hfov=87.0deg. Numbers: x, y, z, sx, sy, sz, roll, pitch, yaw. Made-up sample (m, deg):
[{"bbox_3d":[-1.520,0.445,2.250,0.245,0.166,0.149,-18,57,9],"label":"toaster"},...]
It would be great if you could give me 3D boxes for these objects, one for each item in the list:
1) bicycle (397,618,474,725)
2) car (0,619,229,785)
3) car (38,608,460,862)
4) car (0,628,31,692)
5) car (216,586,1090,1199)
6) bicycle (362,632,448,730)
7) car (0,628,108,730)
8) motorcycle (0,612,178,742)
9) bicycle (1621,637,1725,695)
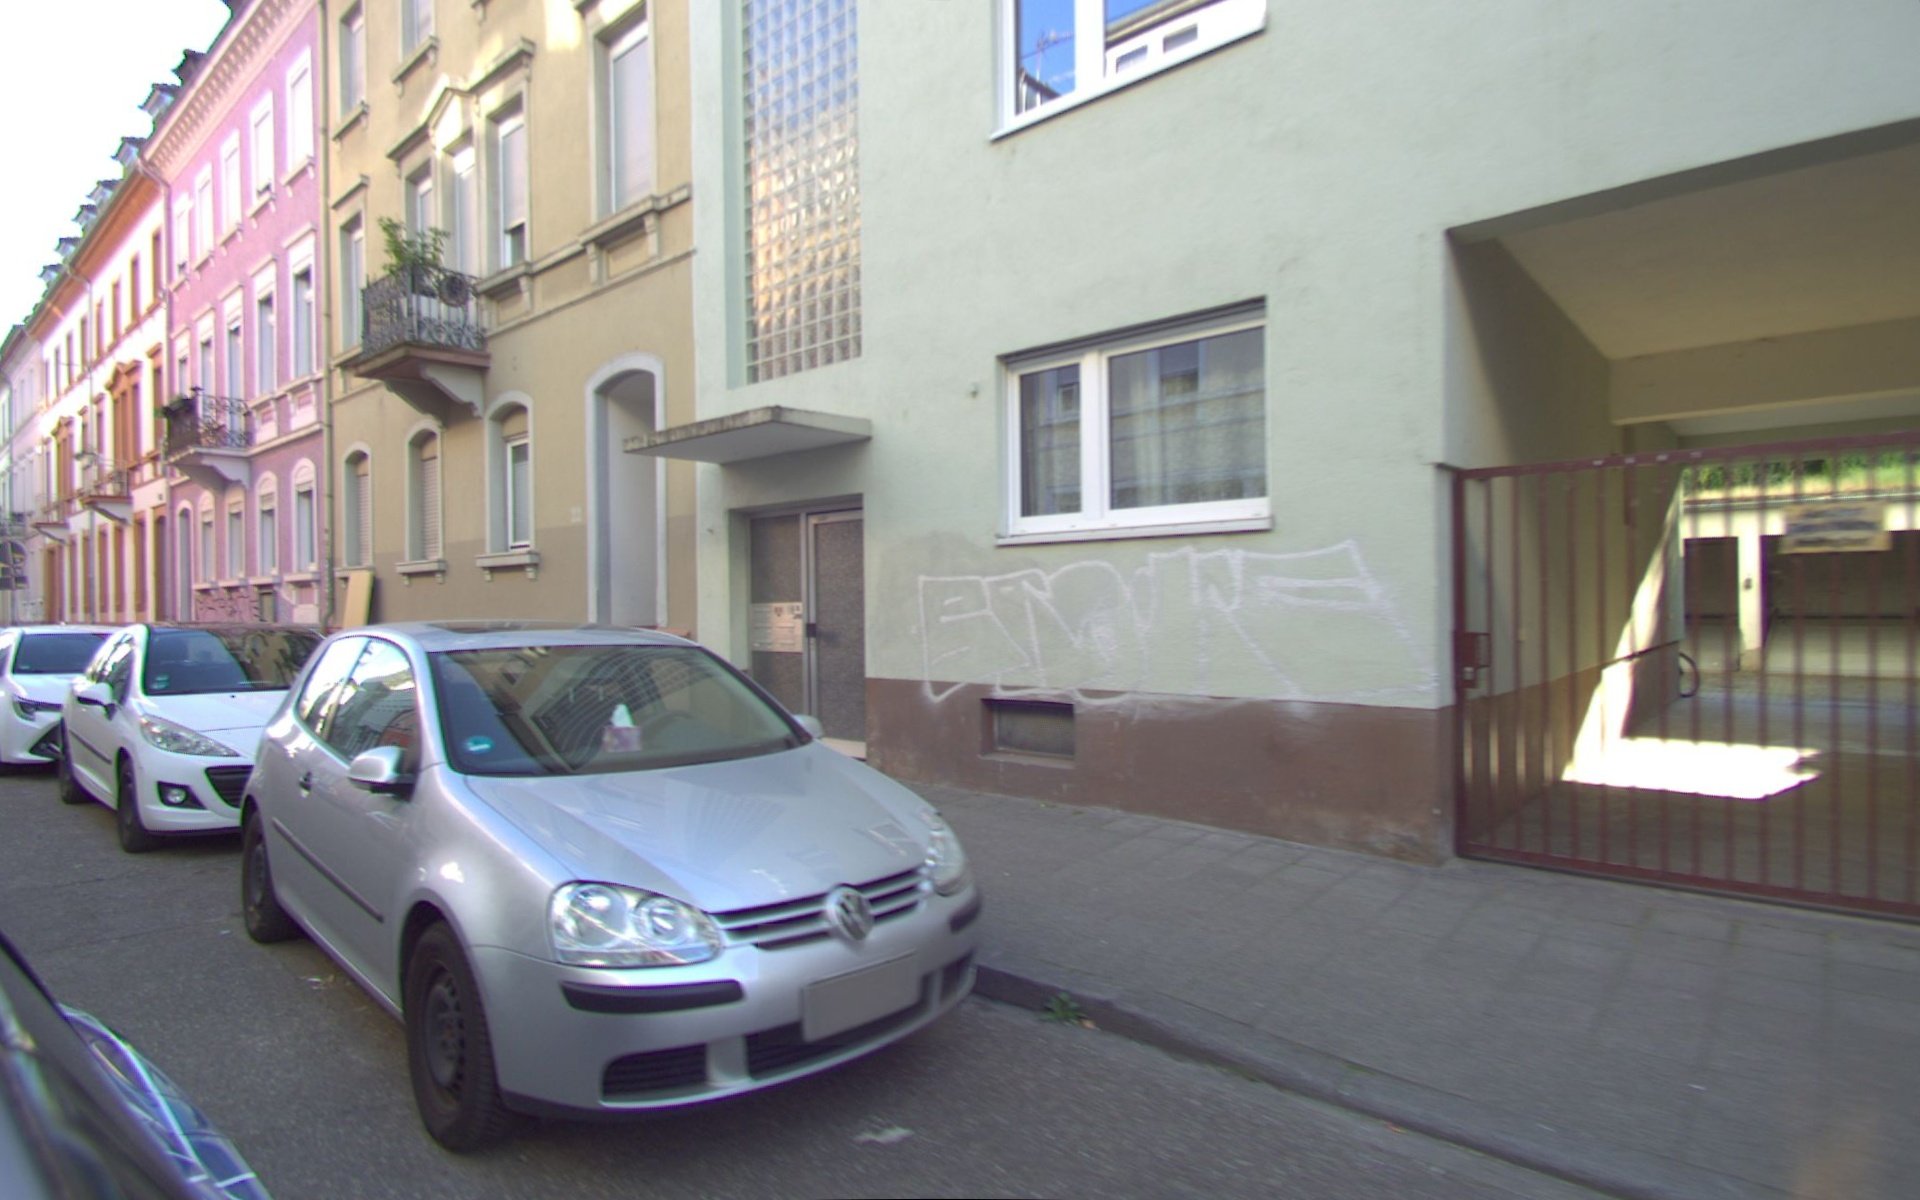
[{"bbox_3d":[-6.572,0.868,12.654,1.494,1.269,0.315,-1,0,41],"label":"bicycle"},{"bbox_3d":[-9.594,0.957,10.958,4.197,1.473,1.769,-1,-2,40],"label":"car"},{"bbox_3d":[-5.638,0.818,7.837,3.998,1.463,1.771,-1,-1,41],"label":"car"},{"bbox_3d":[-22.346,1.313,22.656,4.378,1.353,1.748,-1,-2,41],"label":"car"},{"bbox_3d":[-1.592,0.761,4.080,4.035,1.466,1.661,-2,-2,45],"label":"car"},{"bbox_3d":[-6.778,0.950,12.326,1.494,1.110,0.413,-1,0,41],"label":"bicycle"},{"bbox_3d":[-14.659,1.144,15.695,4.303,1.401,1.707,-2,-2,43],"label":"car"},{"bbox_3d":[-11.510,0.941,13.160,0.818,1.490,1.954,-2,1,21],"label":"motorcycle"},{"bbox_3d":[9.686,0.881,13.762,1.097,0.734,0.437,-1,0,44],"label":"bicycle"}]
